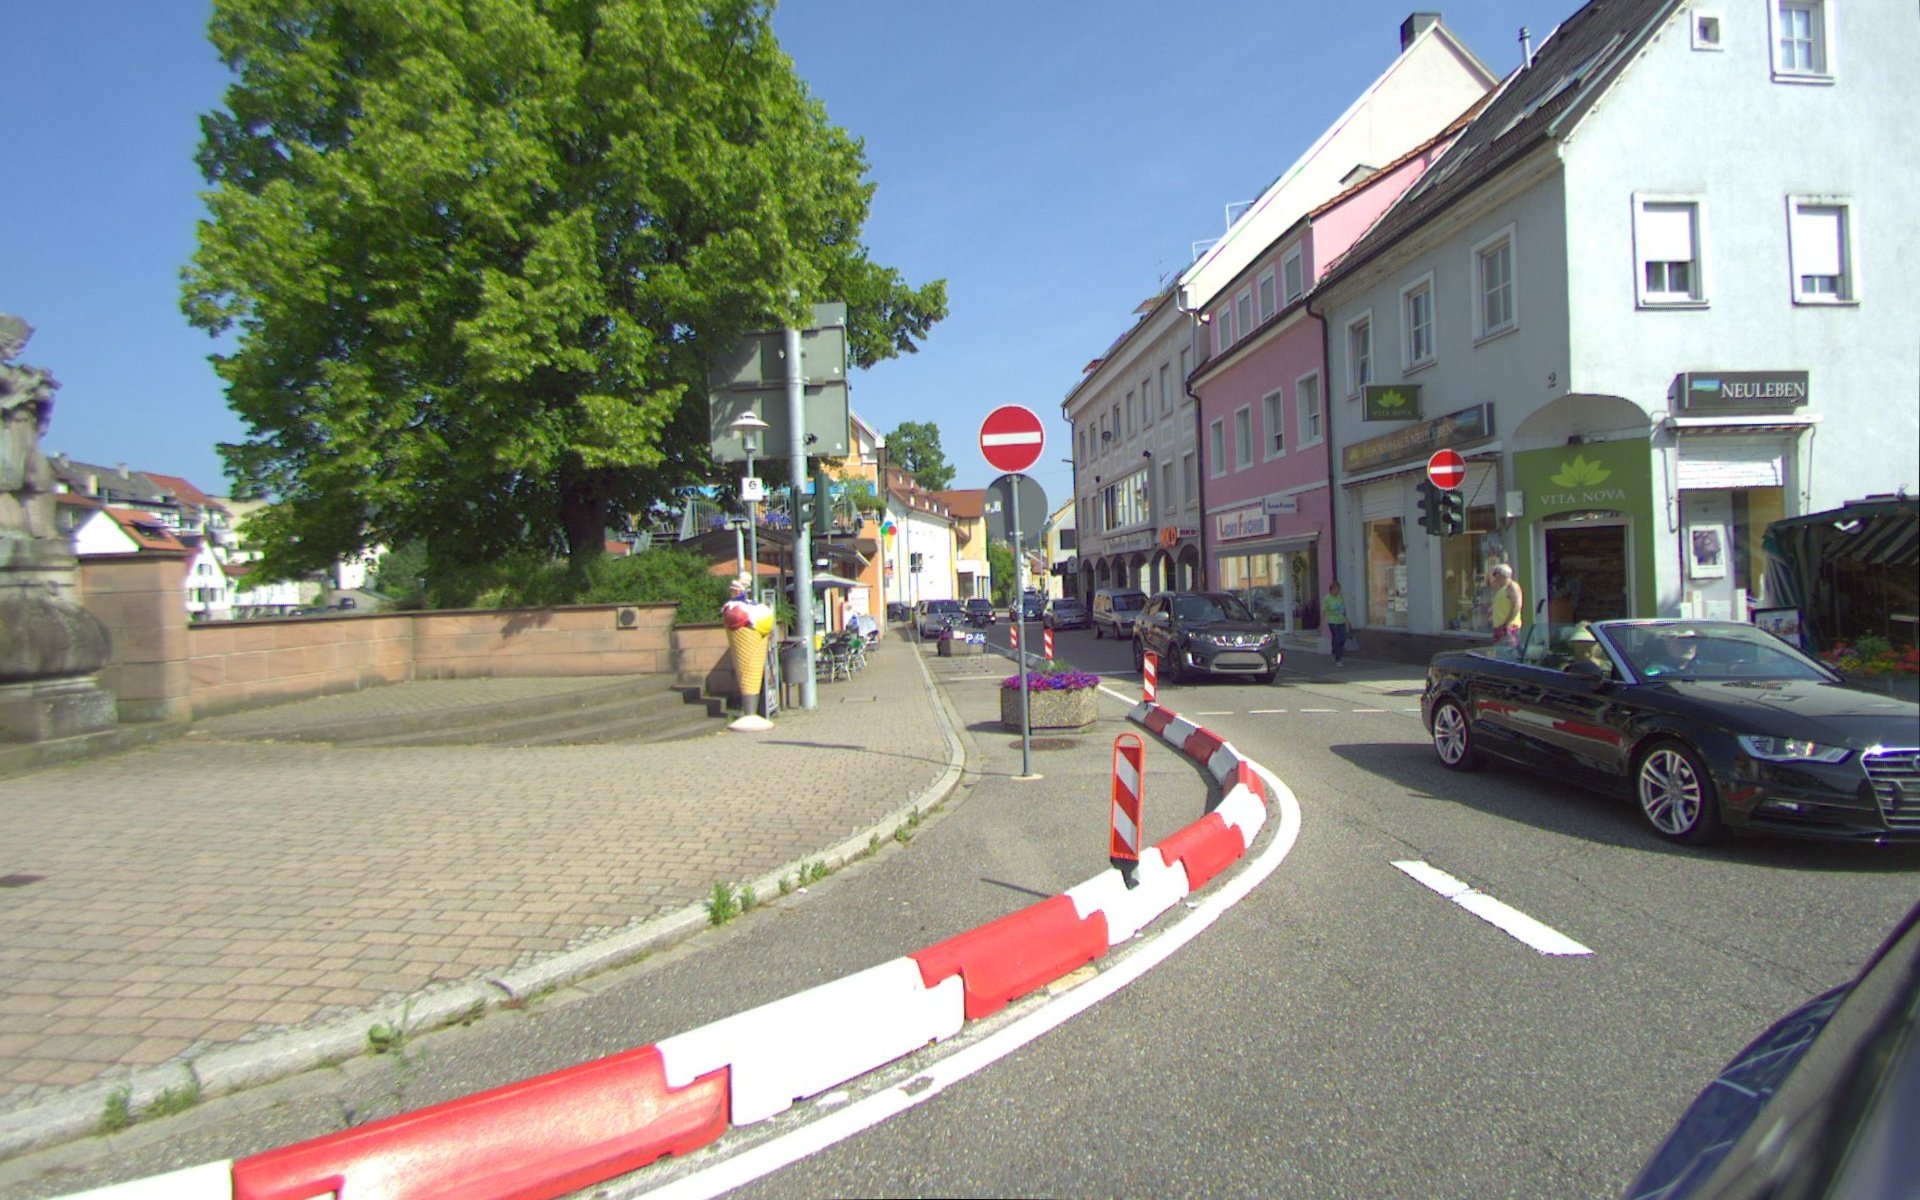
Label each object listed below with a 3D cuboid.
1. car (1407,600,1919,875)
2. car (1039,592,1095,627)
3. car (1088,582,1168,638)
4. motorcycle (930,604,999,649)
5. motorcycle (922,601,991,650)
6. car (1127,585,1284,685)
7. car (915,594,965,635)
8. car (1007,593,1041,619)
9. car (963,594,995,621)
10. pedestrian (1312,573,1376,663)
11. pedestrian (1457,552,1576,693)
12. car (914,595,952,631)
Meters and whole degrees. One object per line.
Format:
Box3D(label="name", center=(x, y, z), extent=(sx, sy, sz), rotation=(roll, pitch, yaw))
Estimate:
Box3D(label="car", center=(5.094, 0.705, 7.306), extent=(1.722, 1.373, 4.201), rotation=(-1, 0, -2))
Box3D(label="car", center=(4.894, 0.423, 47.025), extent=(1.773, 1.489, 4.458), rotation=(-2, 0, -4))
Box3D(label="car", center=(5.884, 0.326, 35.920), extent=(1.678, 1.761, 4.150), rotation=(-4, 0, -6))
Box3D(label="motorcycle", center=(0.151, 0.799, 31.516), extent=(2.056, 1.286, 0.927), rotation=(-2, 0, -44))
Box3D(label="motorcycle", center=(-0.090, 0.737, 29.910), extent=(1.866, 1.375, 0.916), rotation=(-2, 0, -39))
Box3D(label="car", center=(4.345, 0.536, 18.525), extent=(1.651, 1.580, 3.974), rotation=(-2, 1, -3))
Box3D(label="car", center=(-0.917, 0.601, 43.651), extent=(1.716, 1.617, 4.599), rotation=(-2, 0, -6))
Box3D(label="car", center=(4.160, 0.362, 66.045), extent=(1.736, 1.580, 3.973), rotation=(-2, 0, -3))
Box3D(label="car", center=(1.160, 0.455, 62.207), extent=(1.651, 1.580, 3.344), rotation=(-2, 0, -3))
Box3D(label="pedestrian", center=(7.449, 0.340, 19.671), extent=(0.773, 1.652, 0.859), rotation=(-4, 0, -2))
Box3D(label="pedestrian", center=(7.848, 0.316, 14.282), extent=(0.891, 1.837, 1.021), rotation=(-7, 1, -35))
Box3D(label="car", center=(-1.361, 0.590, 48.784), extent=(1.651, 1.578, 4.106), rotation=(-2, 0, -3))
